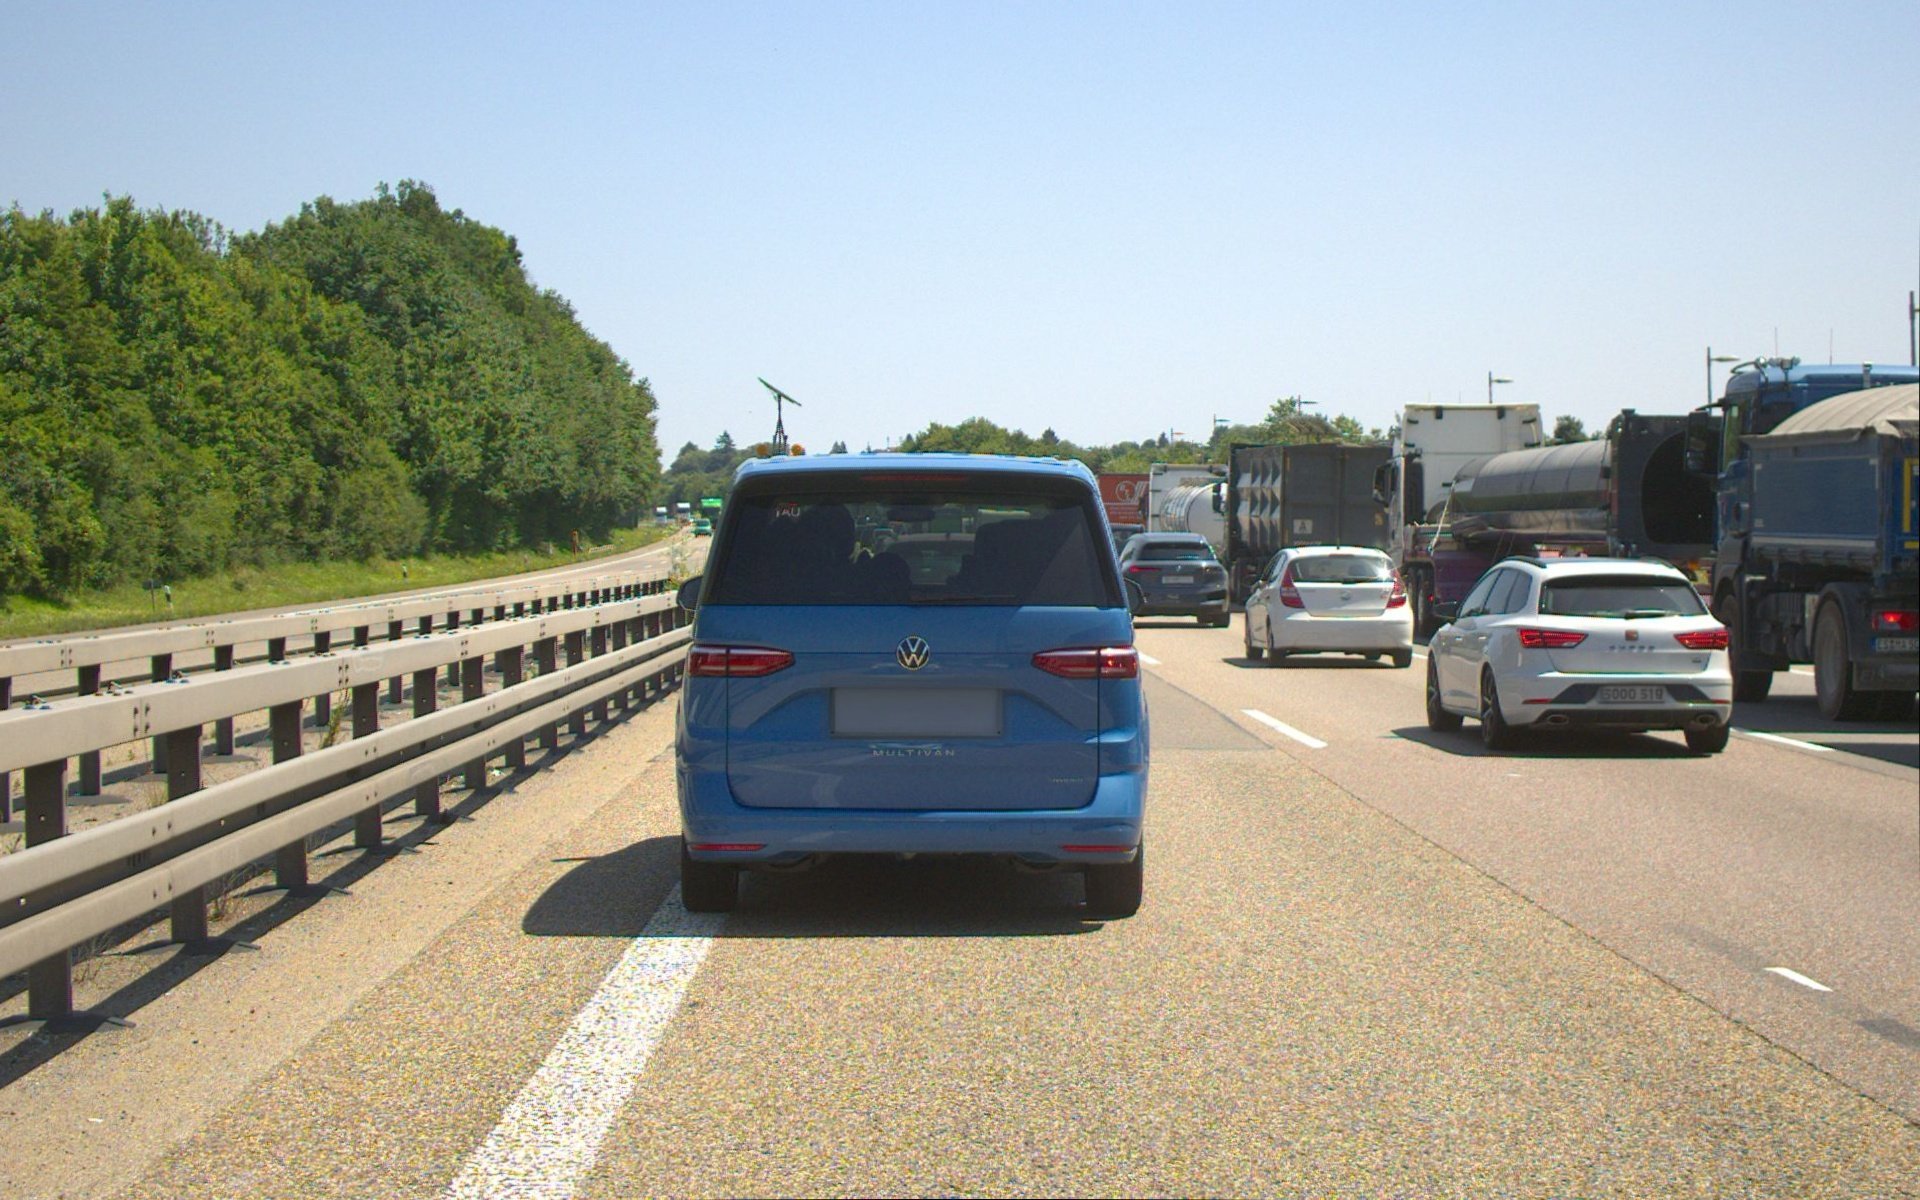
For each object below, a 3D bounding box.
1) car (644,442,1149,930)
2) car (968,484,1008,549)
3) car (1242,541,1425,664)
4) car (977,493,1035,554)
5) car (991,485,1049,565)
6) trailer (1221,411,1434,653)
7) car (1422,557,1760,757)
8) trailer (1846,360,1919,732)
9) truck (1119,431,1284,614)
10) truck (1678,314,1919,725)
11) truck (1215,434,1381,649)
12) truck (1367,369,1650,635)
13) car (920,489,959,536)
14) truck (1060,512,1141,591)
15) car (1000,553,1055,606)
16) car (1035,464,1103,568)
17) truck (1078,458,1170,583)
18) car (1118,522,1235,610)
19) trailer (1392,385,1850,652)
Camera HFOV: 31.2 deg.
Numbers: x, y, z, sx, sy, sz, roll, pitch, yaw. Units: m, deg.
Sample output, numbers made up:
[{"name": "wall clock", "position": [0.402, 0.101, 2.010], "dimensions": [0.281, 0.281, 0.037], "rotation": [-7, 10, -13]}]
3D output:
[{"name": "car", "position": [-0.213, 0.318, 15.113], "dimensions": [1.901, 1.831, 4.000], "rotation": [1, 0, 1]}, {"name": "car", "position": [2.126, -6.349, 263.115], "dimensions": [2.716, 4.697, 11.561], "rotation": [1, 0, -1]}, {"name": "car", "position": [4.644, 0.023, 43.278], "dimensions": [1.840, 1.449, 4.000], "rotation": [1, 0, 0]}, {"name": "car", "position": [2.138, -3.554, 160.767], "dimensions": [2.550, 2.708, 5.621], "rotation": [1, 0, -1]}, {"name": "car", "position": [4.032, -5.053, 232.683], "dimensions": [3.218, 5.239, 8.145], "rotation": [1, 0, -4]}, {"name": "trailer", "position": [8.338, -1.482, 79.898], "dimensions": [3.646, 5.119, 13.075], "rotation": [1, 0, 1]}, {"name": "car", "position": [4.701, 0.374, 26.138], "dimensions": [1.867, 1.356, 4.000], "rotation": [1, 1, 1]}, {"name": "trailer", "position": [8.693, -0.317, 23.648], "dimensions": [2.743, 2.827, 9.116], "rotation": [1, 2, 0]}, {"name": "truck", "position": [7.275, -2.254, 106.248], "dimensions": [3.621, 5.195, 15.690], "rotation": [1, 0, -1]}, {"name": "truck", "position": [8.684, -0.733, 31.235], "dimensions": [2.743, 3.300, 7.133], "rotation": [1, 2, 0]}, {"name": "truck", "position": [8.427, -1.435, 86.369], "dimensions": [3.659, 5.162, 5.708], "rotation": [1, 0, 1]}, {"name": "truck", "position": [8.959, -1.542, 57.150], "dimensions": [3.626, 4.080, 7.524], "rotation": [1, 0, 1]}, {"name": "car", "position": [-1.526, -6.386, 251.969], "dimensions": [2.485, 3.193, 7.373], "rotation": [1, 0, -3]}, {"name": "truck", "position": [3.368, -1.154, 83.056], "dimensions": [1.725, 1.851, 4.000], "rotation": [1, 0, -1]}, {"name": "car", "position": [2.626, -0.812, 133.956], "dimensions": [1.993, 2.007, 4.000], "rotation": [1, 0, -1]}, {"name": "car", "position": [5.684, -4.337, 180.563], "dimensions": [3.218, 5.239, 8.144], "rotation": [1, 0, 0]}, {"name": "truck", "position": [6.675, -3.157, 141.443], "dimensions": [3.068, 4.903, 10.690], "rotation": [1, 0, -1]}, {"name": "car", "position": [3.878, -0.601, 62.086], "dimensions": [1.781, 1.519, 4.000], "rotation": [1, 0, -1]}, {"name": "trailer", "position": [8.716, -0.987, 48.056], "dimensions": [3.646, 3.068, 15.771], "rotation": [1, 0, 1]}]
